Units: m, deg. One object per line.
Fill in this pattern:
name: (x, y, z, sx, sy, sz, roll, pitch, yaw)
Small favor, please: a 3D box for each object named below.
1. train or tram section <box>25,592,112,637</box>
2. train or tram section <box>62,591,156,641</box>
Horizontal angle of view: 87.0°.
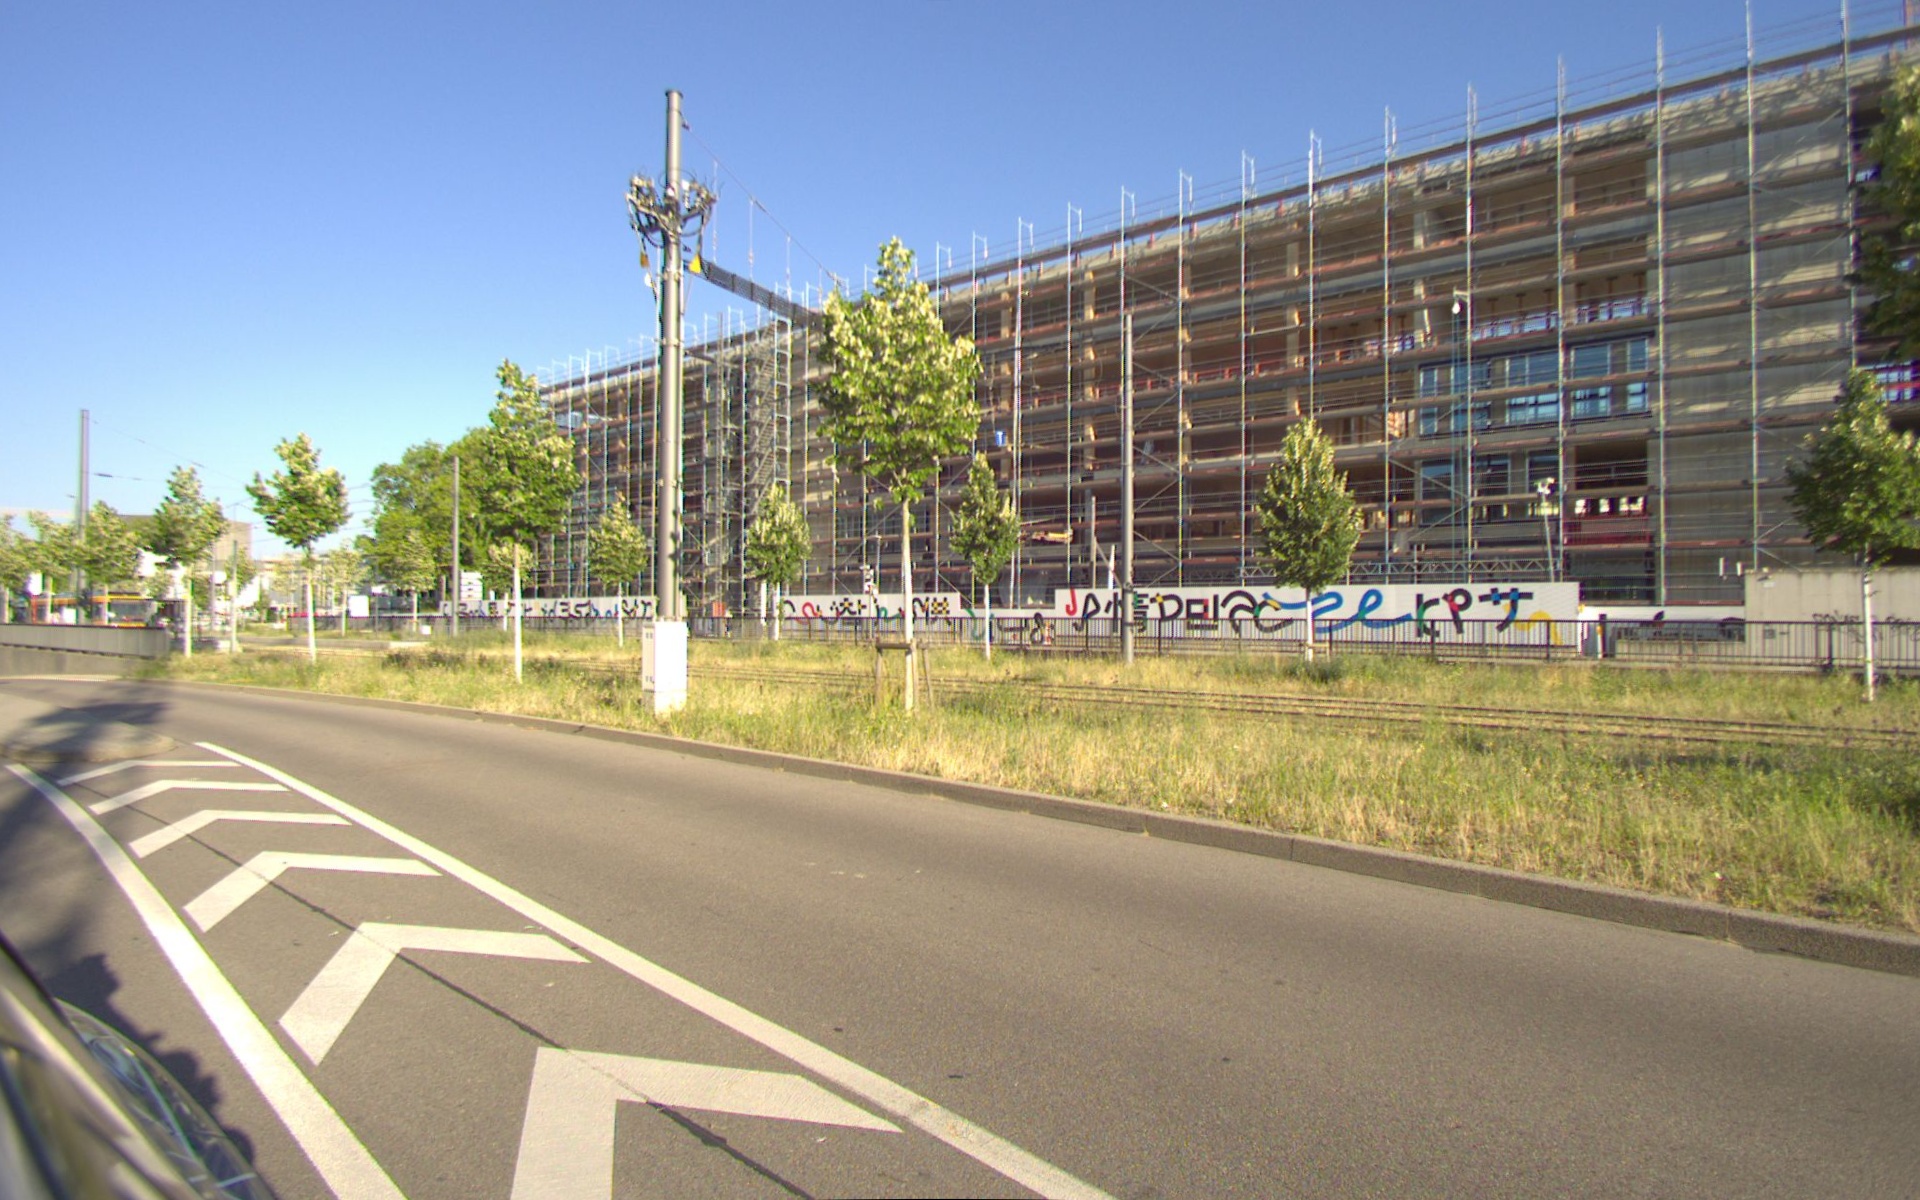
train or tram section: (-73.281, 1.160, 82.981, 14.749, 3.423, 2.917, -1, 0, 39)
train or tram section: (-62.698, 1.131, 74.375, 12.619, 3.423, 2.917, -1, 0, 39)
